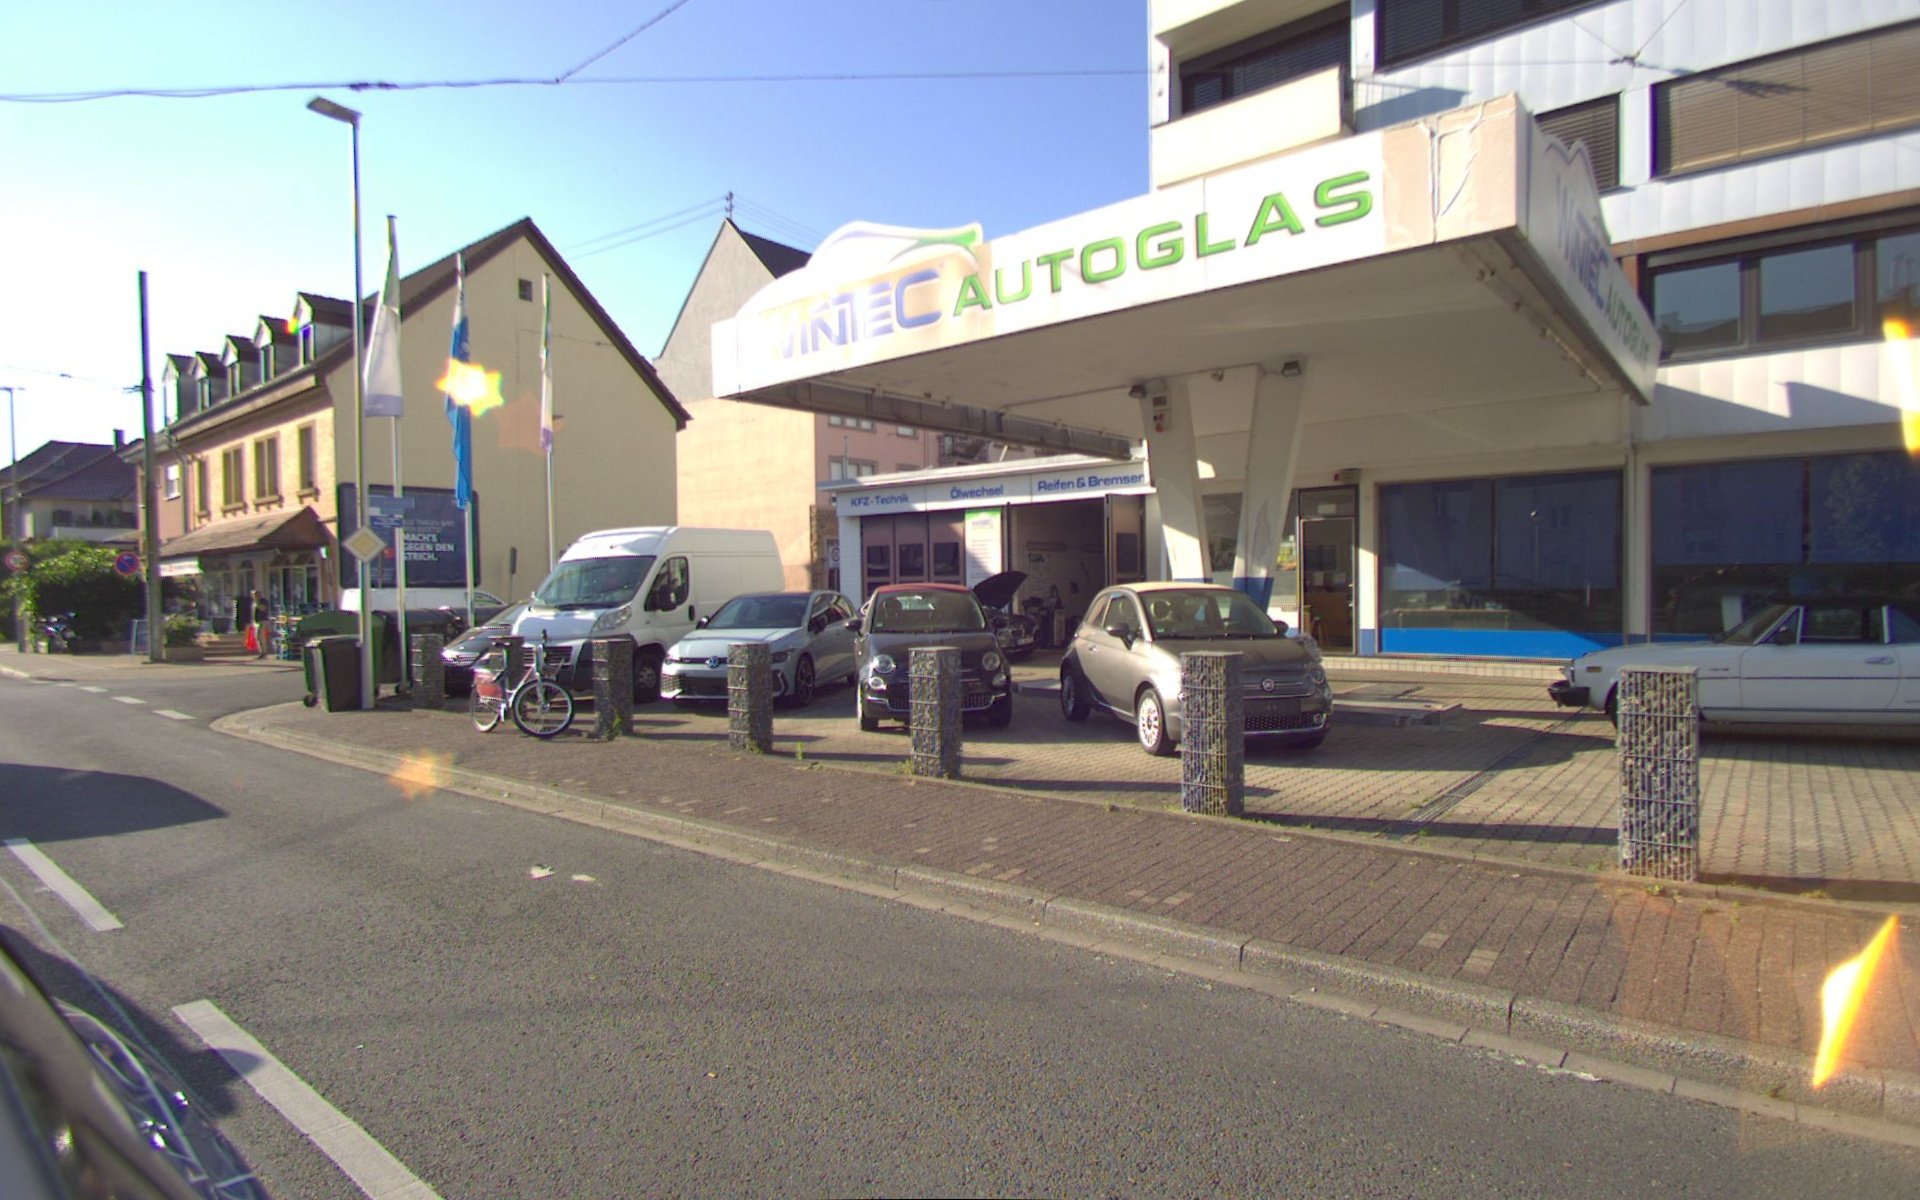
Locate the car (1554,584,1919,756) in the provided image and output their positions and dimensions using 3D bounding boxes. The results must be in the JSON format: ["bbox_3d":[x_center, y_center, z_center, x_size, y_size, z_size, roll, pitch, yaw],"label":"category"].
[{"bbox_3d":[7.379,0.543,8.577,3.898,1.308,1.506,-1,-1,37],"label":"car"}]

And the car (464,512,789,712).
[{"bbox_3d":[-4.693,0.133,15.229,2.098,2.472,4.963,-1,0,18],"label":"car"}]

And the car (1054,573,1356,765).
[{"bbox_3d":[2.147,0.536,9.800,1.517,1.497,3.381,-1,0,-11],"label":"car"}]

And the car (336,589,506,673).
[{"bbox_3d":[-13.899,0.740,26.258,1.449,2.029,3.628,-1,0,37],"label":"car"}]

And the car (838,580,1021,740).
[{"bbox_3d":[-0.489,0.566,11.515,1.569,1.508,3.443,-1,0,-10],"label":"car"}]

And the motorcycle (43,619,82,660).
[{"bbox_3d":[-27.973,1.206,31.535,2.186,1.226,0.699,-1,0,43],"label":"motorcycle"}]

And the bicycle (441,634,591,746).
[{"bbox_3d":[-4.901,0.942,11.128,1.789,1.094,0.716,-1,1,37],"label":"bicycle"}]

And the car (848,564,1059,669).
[{"bbox_3d":[-0.212,0.322,20.926,4.255,1.958,1.720,-1,0,40],"label":"car"}]

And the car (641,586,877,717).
[{"bbox_3d":[-2.537,0.589,13.811,1.725,1.508,4.016,-1,0,12],"label":"car"}]

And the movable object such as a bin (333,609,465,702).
[{"bbox_3d":[-9.582,0.916,17.375,1.039,1.475,1.787,-1,0,15],"label":"movable object such as a bin"}]

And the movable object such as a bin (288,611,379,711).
[{"bbox_3d":[-9.712,0.918,15.720,1.030,1.475,0.798,-1,0,-18],"label":"movable object such as a bin"}]

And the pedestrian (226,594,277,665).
[{"bbox_3d":[-18.949,0.767,27.064,0.761,1.866,0.817,-1,0,21],"label":"pedestrian"}]

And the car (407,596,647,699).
[{"bbox_3d":[-7.068,0.705,17.015,1.725,1.488,4.016,-1,0,12],"label":"car"}]
